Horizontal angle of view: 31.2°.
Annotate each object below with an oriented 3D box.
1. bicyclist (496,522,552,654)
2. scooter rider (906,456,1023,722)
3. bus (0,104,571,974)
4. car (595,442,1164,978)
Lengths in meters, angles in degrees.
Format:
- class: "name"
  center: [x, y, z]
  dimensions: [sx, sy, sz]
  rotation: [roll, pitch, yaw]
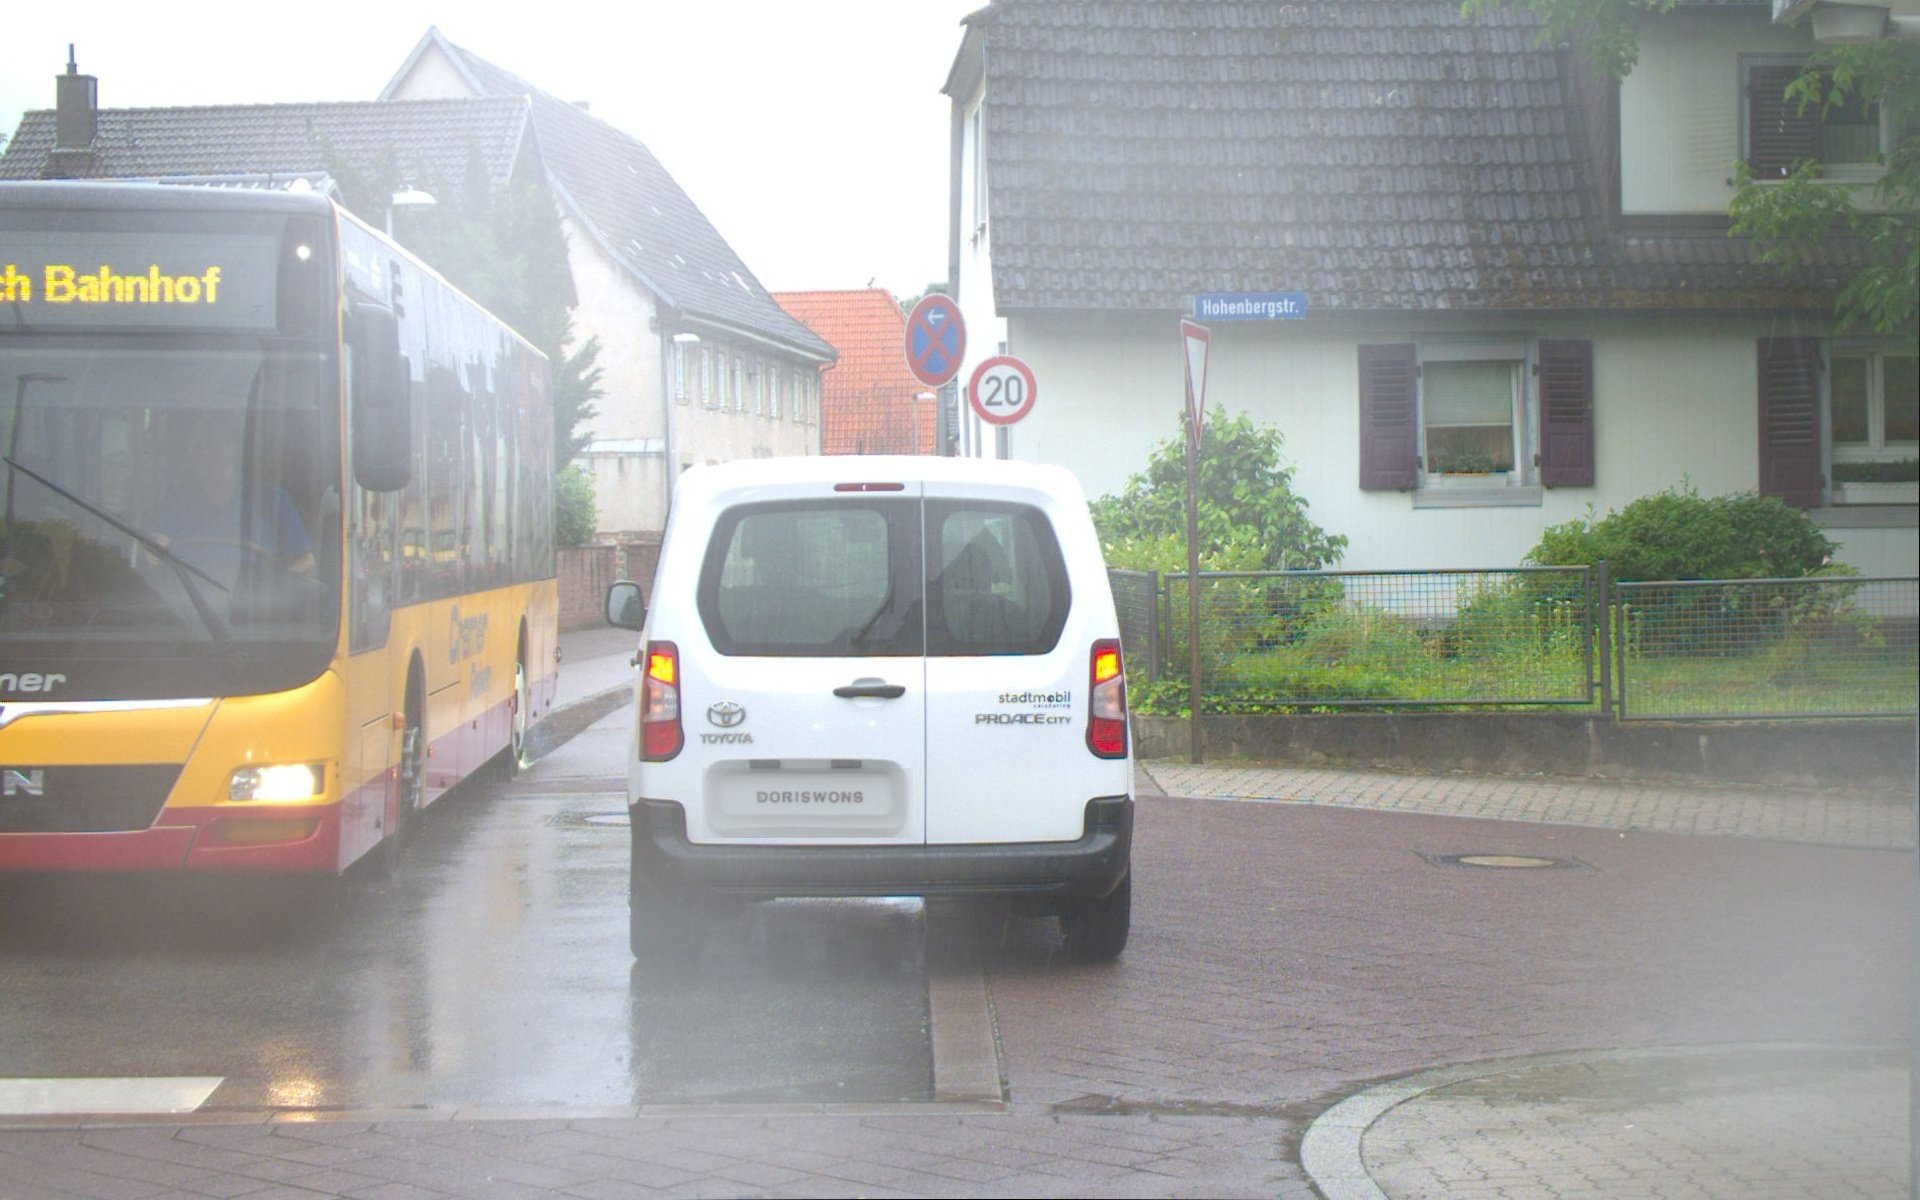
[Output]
- class: "bicyclist"
  center: [-5.709, -0.154, 45.011]
  dimensions: [0.589, 1.701, 0.517]
  rotation: [-2, 0, 2]
- class: "scooter rider"
  center: [0.033, -0.081, 22.675]
  dimensions: [0.731, 1.727, 0.518]
  rotation: [-1, 2, 1]
- class: "bus"
  center: [-3.729, -0.459, 17.895]
  dimensions: [2.649, 2.989, 12.195]
  rotation: [0, 2, -3]
- class: "car"
  center: [-0.398, 0.341, 13.480]
  dimensions: [1.894, 1.787, 3.814]
  rotation: [1, 1, -4]
